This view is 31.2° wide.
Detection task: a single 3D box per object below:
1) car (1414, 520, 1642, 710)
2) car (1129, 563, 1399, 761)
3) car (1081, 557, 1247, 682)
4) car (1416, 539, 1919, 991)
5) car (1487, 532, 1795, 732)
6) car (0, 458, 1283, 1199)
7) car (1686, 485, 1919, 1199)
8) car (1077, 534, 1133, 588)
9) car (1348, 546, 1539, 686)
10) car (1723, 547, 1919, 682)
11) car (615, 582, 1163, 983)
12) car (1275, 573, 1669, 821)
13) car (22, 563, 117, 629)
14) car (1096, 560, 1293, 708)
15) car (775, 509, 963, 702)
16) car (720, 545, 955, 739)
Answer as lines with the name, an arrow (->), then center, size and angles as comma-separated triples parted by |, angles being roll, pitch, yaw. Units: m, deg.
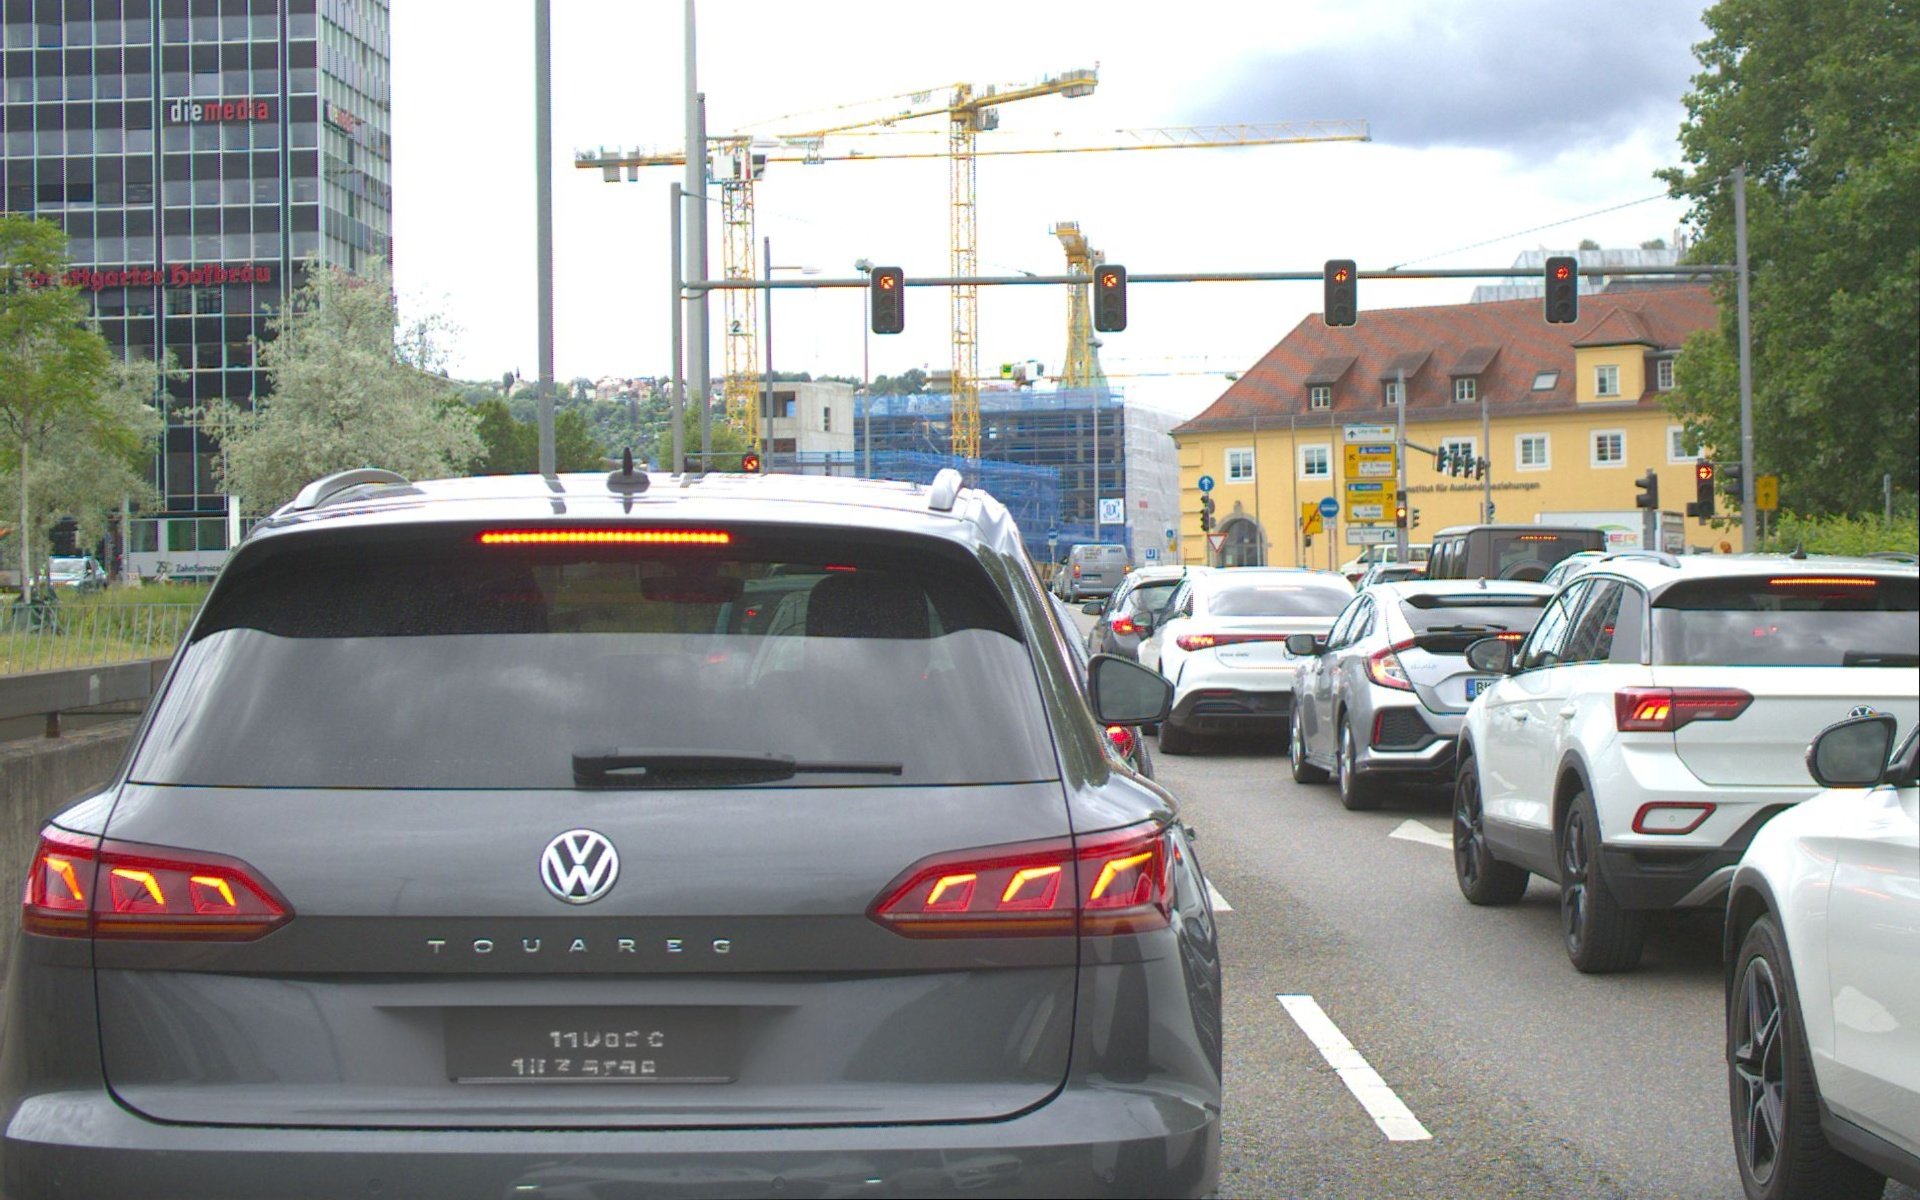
car -> 6.397, 0.161, 39.124 | 1.910, 2.007, 4.012 | 1, 0, 0
car -> 2.469, 0.479, 28.936 | 1.926, 1.524, 4.489 | 0, 0, 1
car -> 2.559, 0.233, 44.044 | 1.926, 1.524, 4.047 | 0, 0, 1
car -> 3.101, 0.565, 14.039 | 1.926, 1.545, 4.489 | 0, 0, 1
car -> 6.318, 0.237, 32.377 | 1.993, 1.634, 4.305 | 0, 3, -1
car -> -0.567, 0.608, 6.674 | 1.951, 1.646, 4.000 | 0, 1, -1
car -> 2.722, 0.617, 6.175 | 1.926, 1.648, 4.490 | 0, 1, 1
car -> 4.674, -1.243, 111.338 | 1.619, 1.622, 4.000 | 1, -1, 0
car -> 6.233, 0.193, 44.704 | 1.910, 1.691, 4.012 | 1, 0, 0
car -> 10.211, 0.184, 39.993 | 1.931, 1.455, 4.526 | 1, 0, 4
car -> -0.284, 0.653, 14.412 | 1.951, 1.379, 3.931 | 1, 1, -1
car -> 3.179, 0.559, 22.211 | 1.926, 1.427, 4.489 | 0, 0, 1
car -> -29.595, -0.152, 114.360 | 1.993, 2.006, 4.692 | 0, 2, -1
car -> 2.516, 0.354, 37.757 | 1.926, 1.524, 4.047 | 0, 0, 1
car -> -0.994, 0.040, 38.572 | 1.951, 2.011, 3.931 | 1, 1, -1
car -> -1.065, 0.334, 31.039 | 1.951, 1.594, 3.931 | 1, 1, -1
